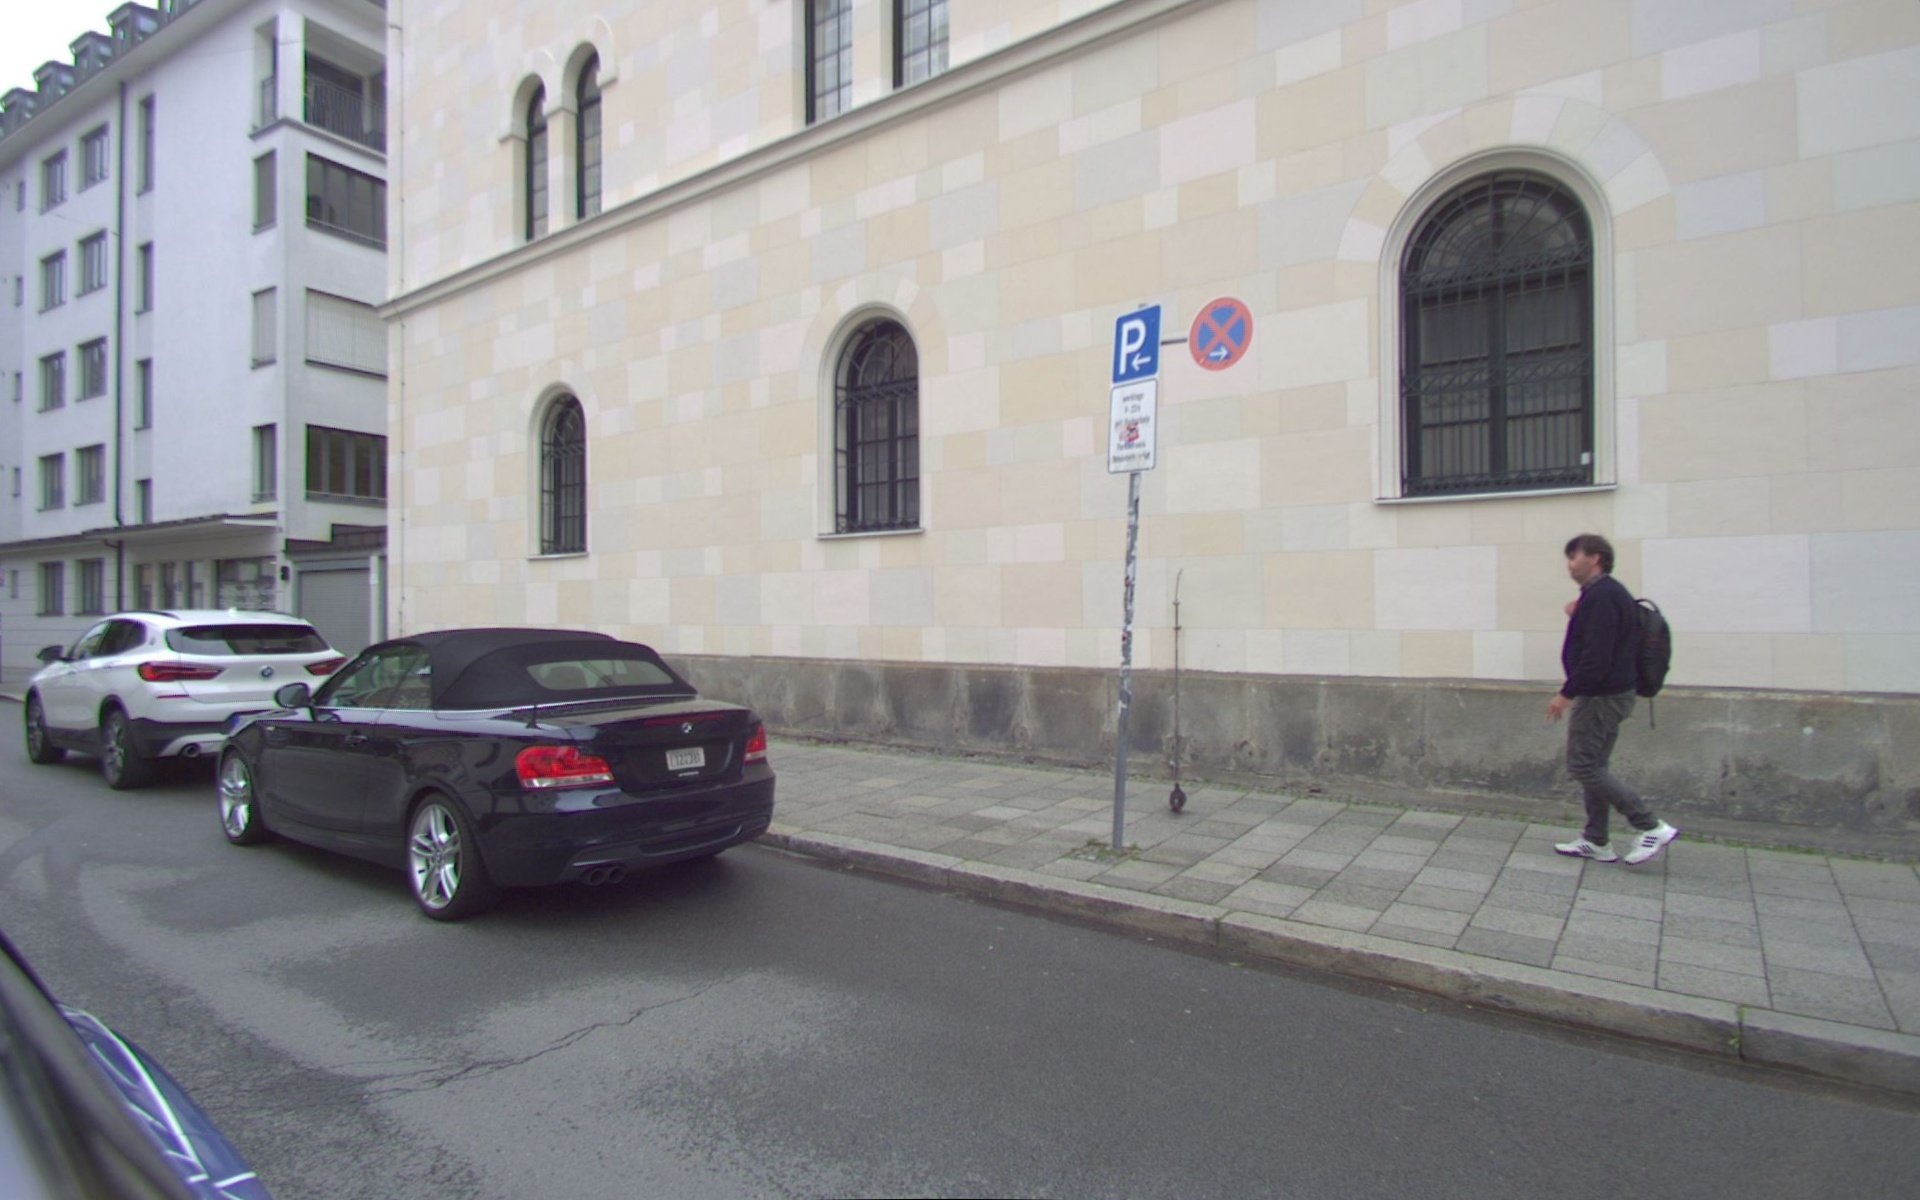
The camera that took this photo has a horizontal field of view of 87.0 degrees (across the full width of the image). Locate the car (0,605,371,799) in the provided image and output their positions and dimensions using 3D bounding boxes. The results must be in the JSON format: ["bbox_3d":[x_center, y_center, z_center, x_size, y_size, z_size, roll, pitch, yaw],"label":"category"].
[{"bbox_3d":[-7.773,0.856,10.036,4.202,1.546,1.762,-1,-2,36],"label":"car"}]

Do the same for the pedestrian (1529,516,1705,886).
[{"bbox_3d":[3.456,0.493,5.341,0.688,1.762,0.748,-2,-2,34],"label":"pedestrian"}]

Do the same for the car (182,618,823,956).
[{"bbox_3d":[-2.957,0.832,6.180,4.202,1.403,1.683,-1,-2,36],"label":"car"}]
